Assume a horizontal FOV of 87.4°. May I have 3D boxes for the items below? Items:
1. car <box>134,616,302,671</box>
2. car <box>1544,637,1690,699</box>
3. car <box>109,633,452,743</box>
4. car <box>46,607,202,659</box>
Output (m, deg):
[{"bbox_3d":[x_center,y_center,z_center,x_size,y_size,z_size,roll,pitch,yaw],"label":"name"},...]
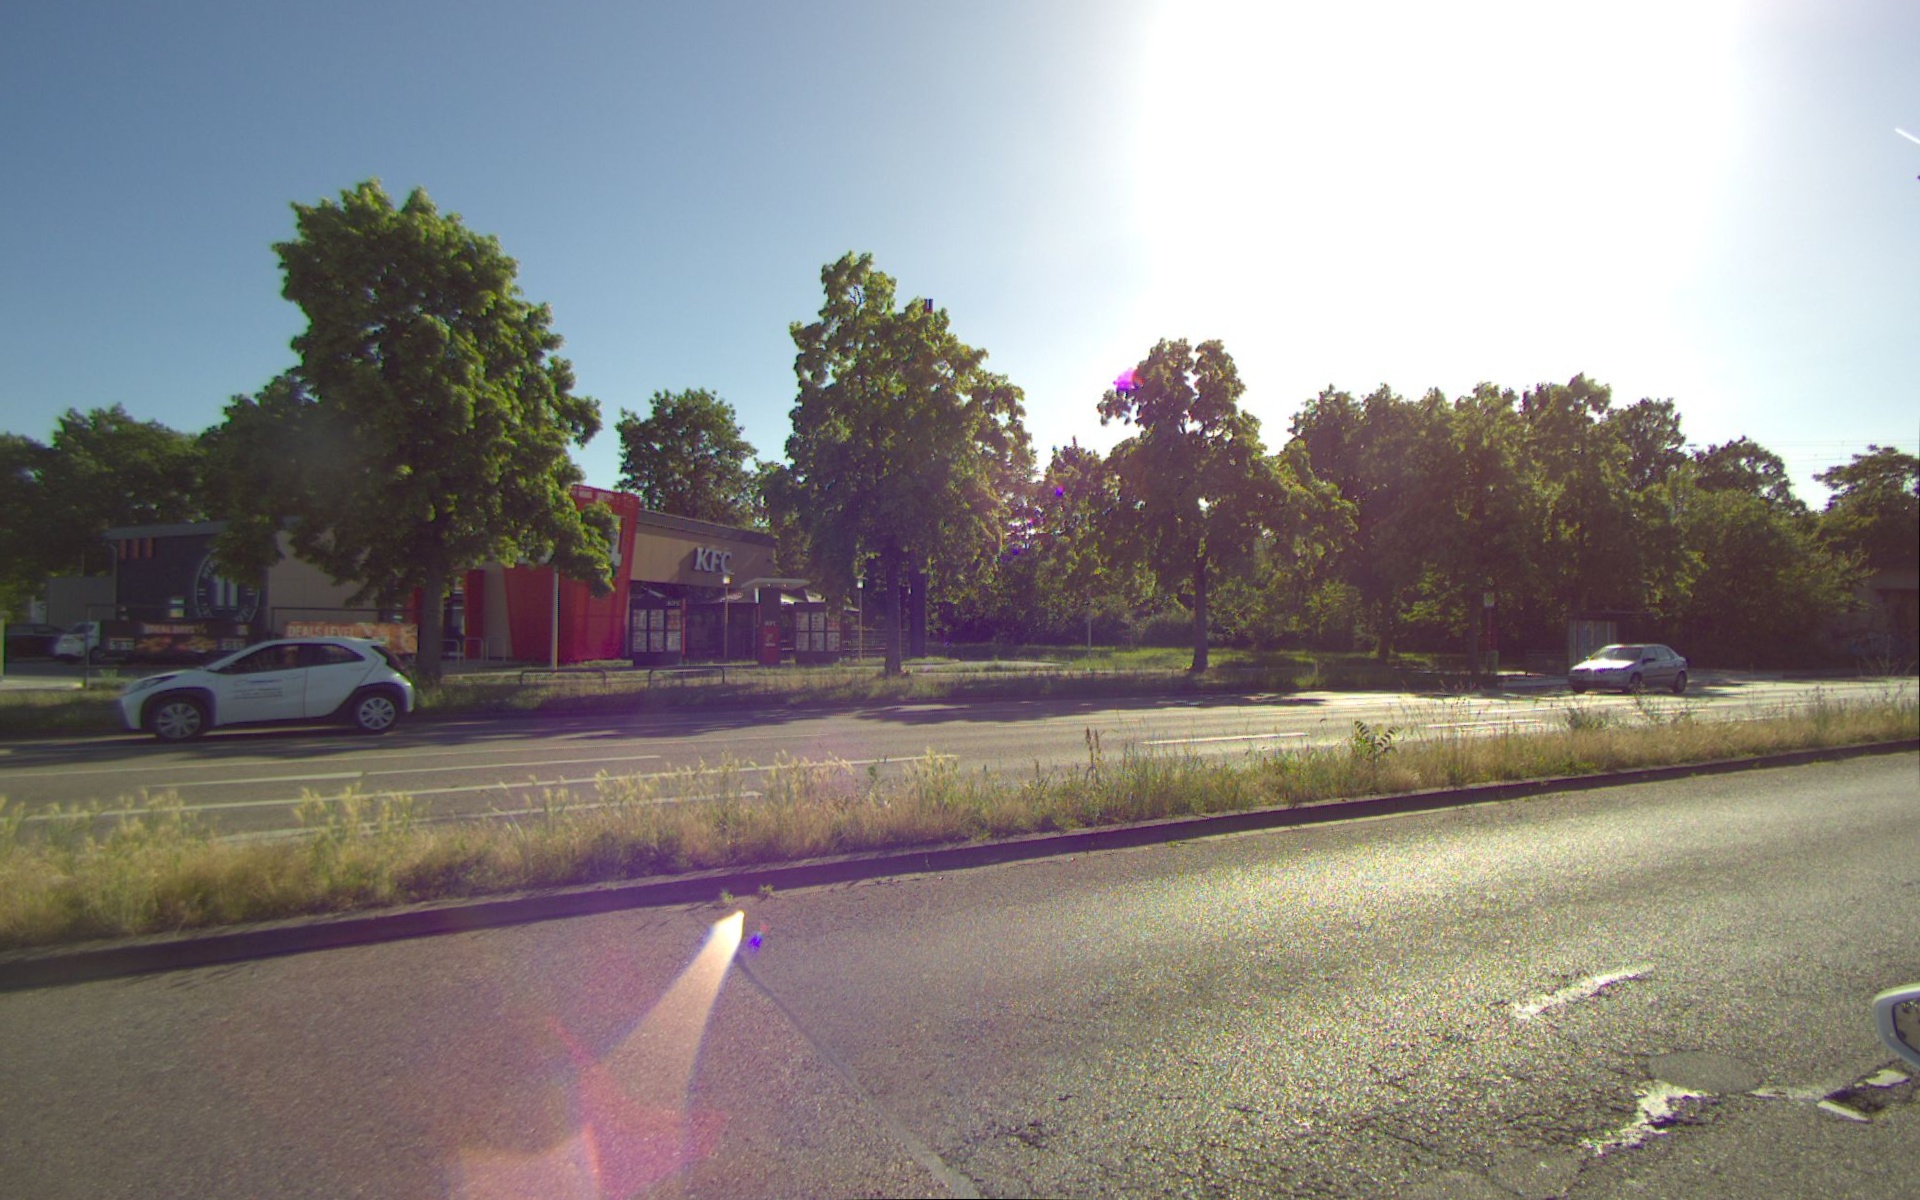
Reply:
[{"bbox_3d":[-24.899,1.430,33.902,1.857,1.684,4.244,2,-1,17],"label":"car"},{"bbox_3d":[19.332,1.970,29.536,4.128,1.706,1.984,2,-3,-30],"label":"car"},{"bbox_3d":[-10.297,1.297,15.631,4.147,1.493,1.984,2,-2,-30],"label":"car"},{"bbox_3d":[-30.313,1.203,36.585,1.845,1.771,4.002,0,-2,15],"label":"car"}]
